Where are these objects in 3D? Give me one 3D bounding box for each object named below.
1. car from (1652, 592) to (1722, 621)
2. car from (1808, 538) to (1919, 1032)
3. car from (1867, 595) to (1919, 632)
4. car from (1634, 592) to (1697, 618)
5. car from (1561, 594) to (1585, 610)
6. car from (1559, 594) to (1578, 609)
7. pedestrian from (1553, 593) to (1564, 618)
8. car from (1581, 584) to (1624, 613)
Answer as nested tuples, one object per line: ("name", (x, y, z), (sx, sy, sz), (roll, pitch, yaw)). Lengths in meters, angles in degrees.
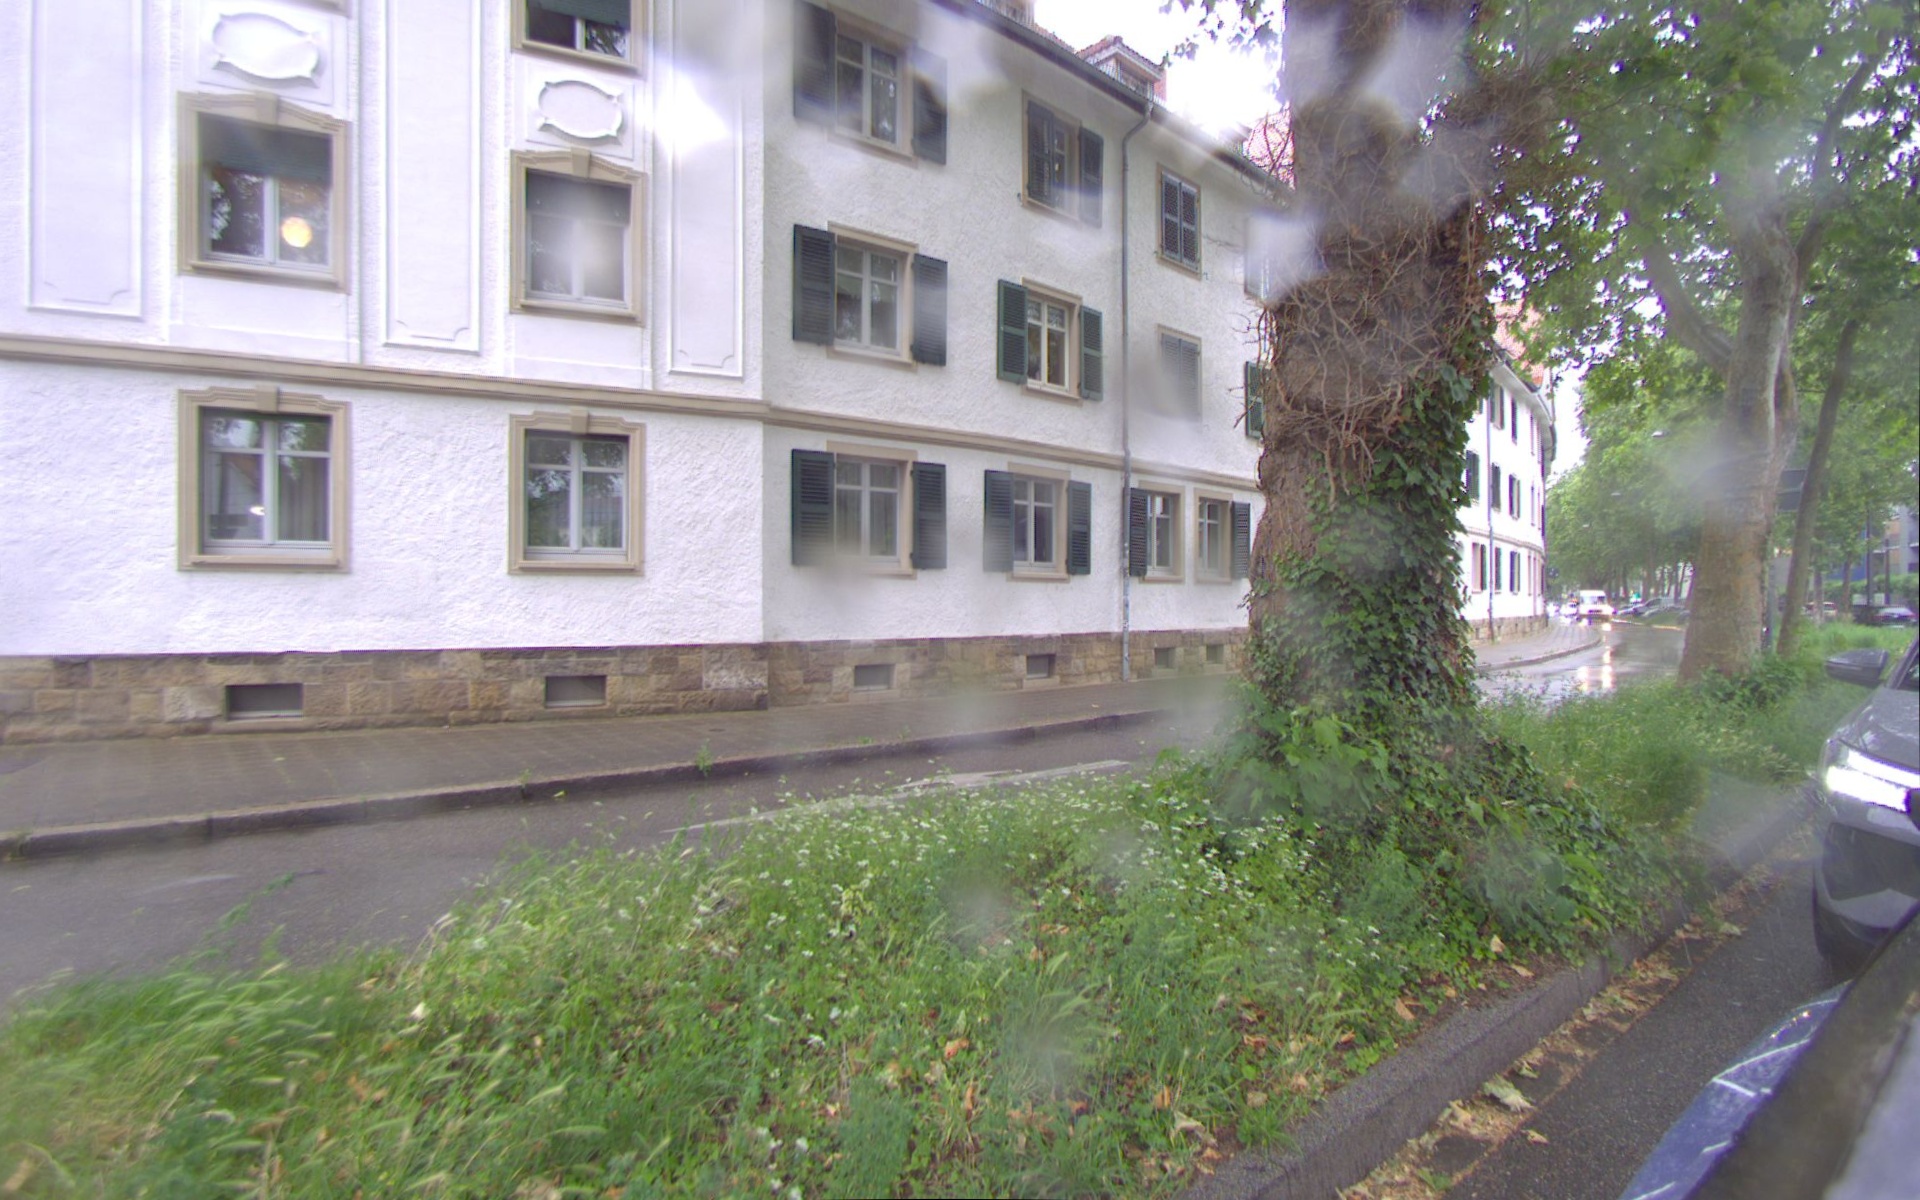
("car", (52.647, 0.472, 73.384), (3.969, 2.039, 1.977), (0, -1, 32))
("car", (5.145, 0.613, 4.308), (4.039, 1.662, 1.913), (0, 0, -44))
("car", (42.743, 0.574, 45.750), (1.742, 1.612, 4.189), (0, 0, 30))
("car", (55.915, 0.389, 80.290), (3.969, 2.039, 1.977), (0, -1, 32))
("car", (60.854, 0.142, 100.529), (1.816, 1.545, 3.959), (0, 0, 29))
("car", (88.601, 0.203, 147.418), (1.983, 2.038, 3.961), (5, 3, 28))
("pedestrian", (44.032, 0.425, 74.493), (0.668, 1.845, 0.672), (0, 0, 31))
("car", (52.158, -0.141, 82.199), (2.173, 2.292, 5.366), (0, 0, 24))
